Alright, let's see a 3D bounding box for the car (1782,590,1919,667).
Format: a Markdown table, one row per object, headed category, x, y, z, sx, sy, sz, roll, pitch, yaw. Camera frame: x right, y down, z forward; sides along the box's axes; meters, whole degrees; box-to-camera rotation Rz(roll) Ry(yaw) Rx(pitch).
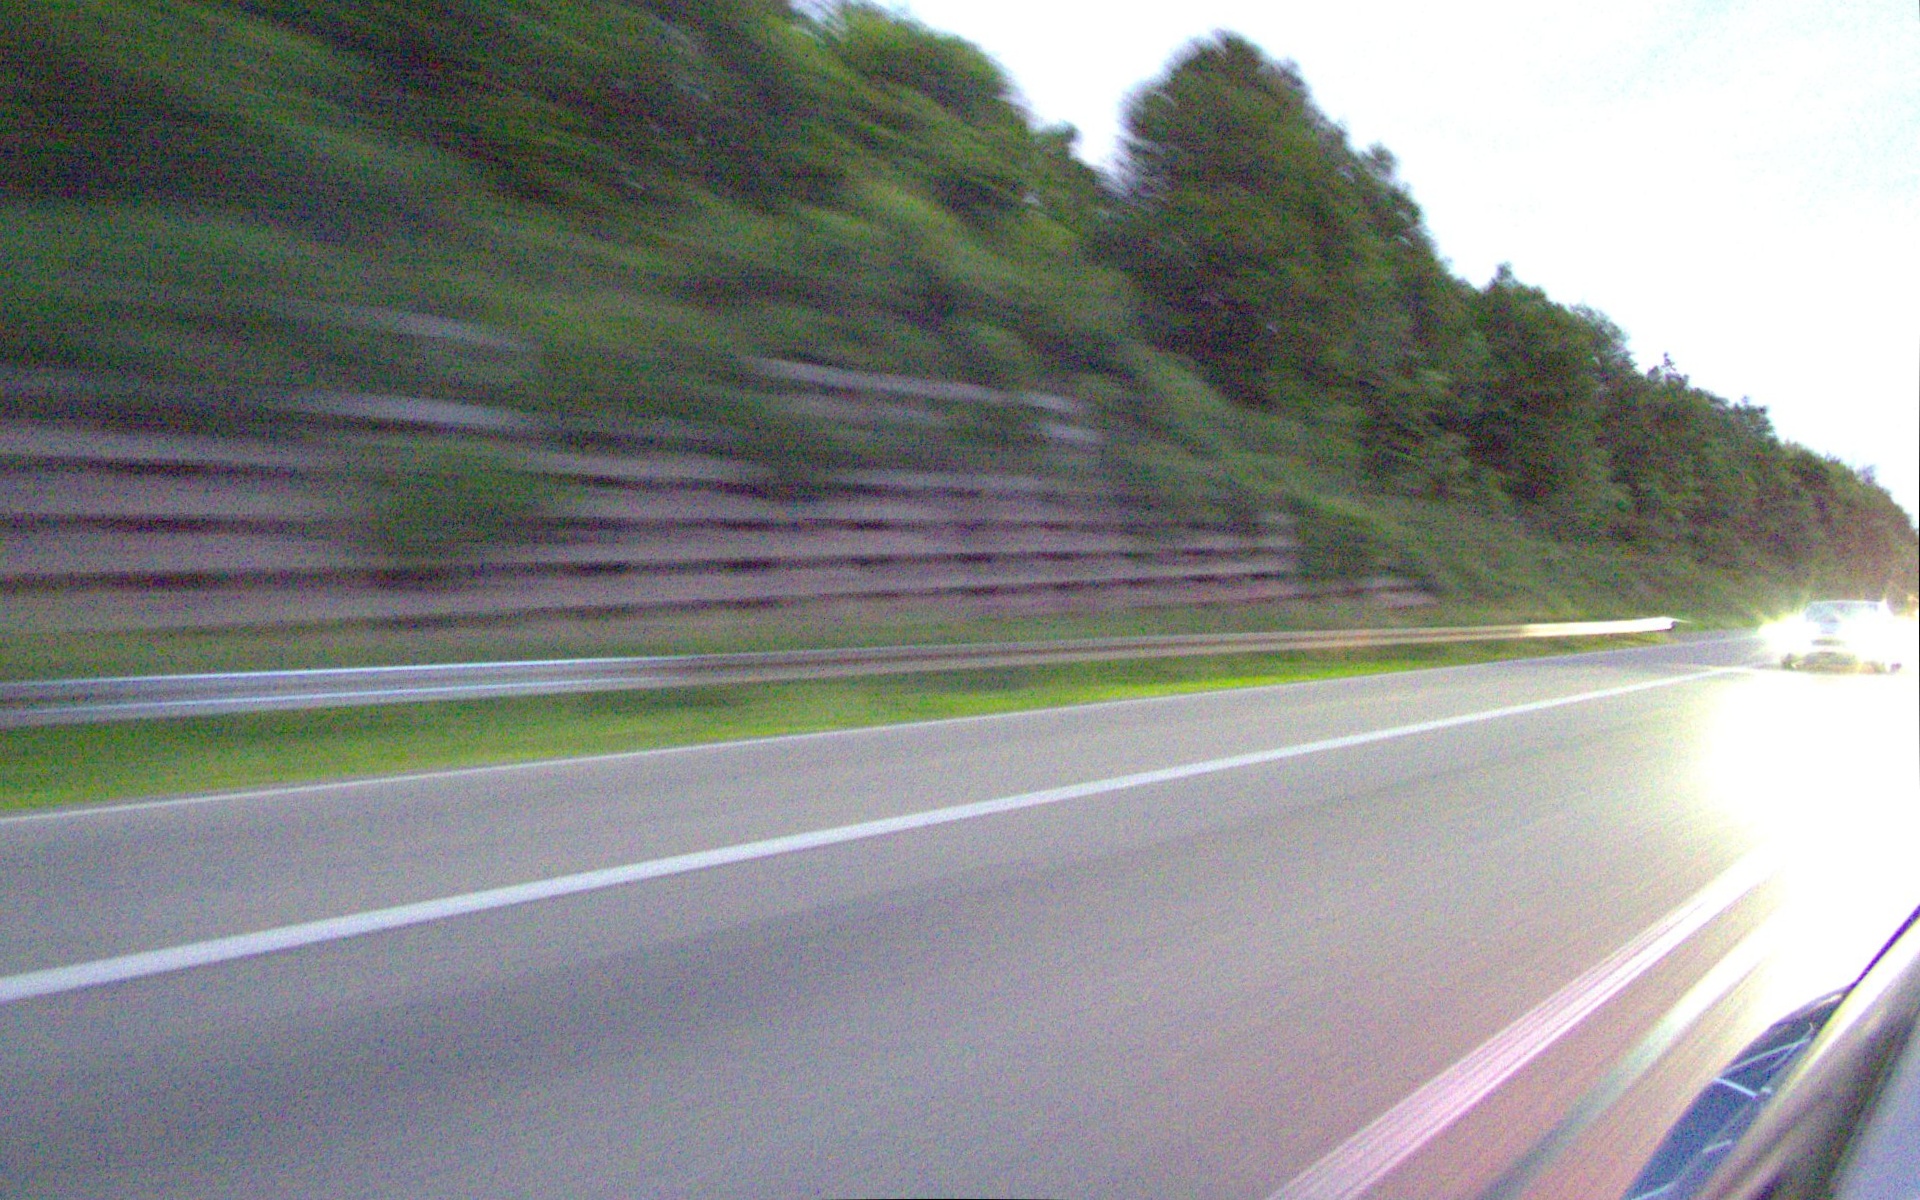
| category | x | y | z | sx | sy | sz | roll | pitch | yaw |
| --- | --- | --- | --- | --- | --- | --- | --- | --- | --- |
| car | 19.281 | 0.530 | 21.736 | 4.505 | 1.454 | 1.868 | -1 | 0 | -42 |
